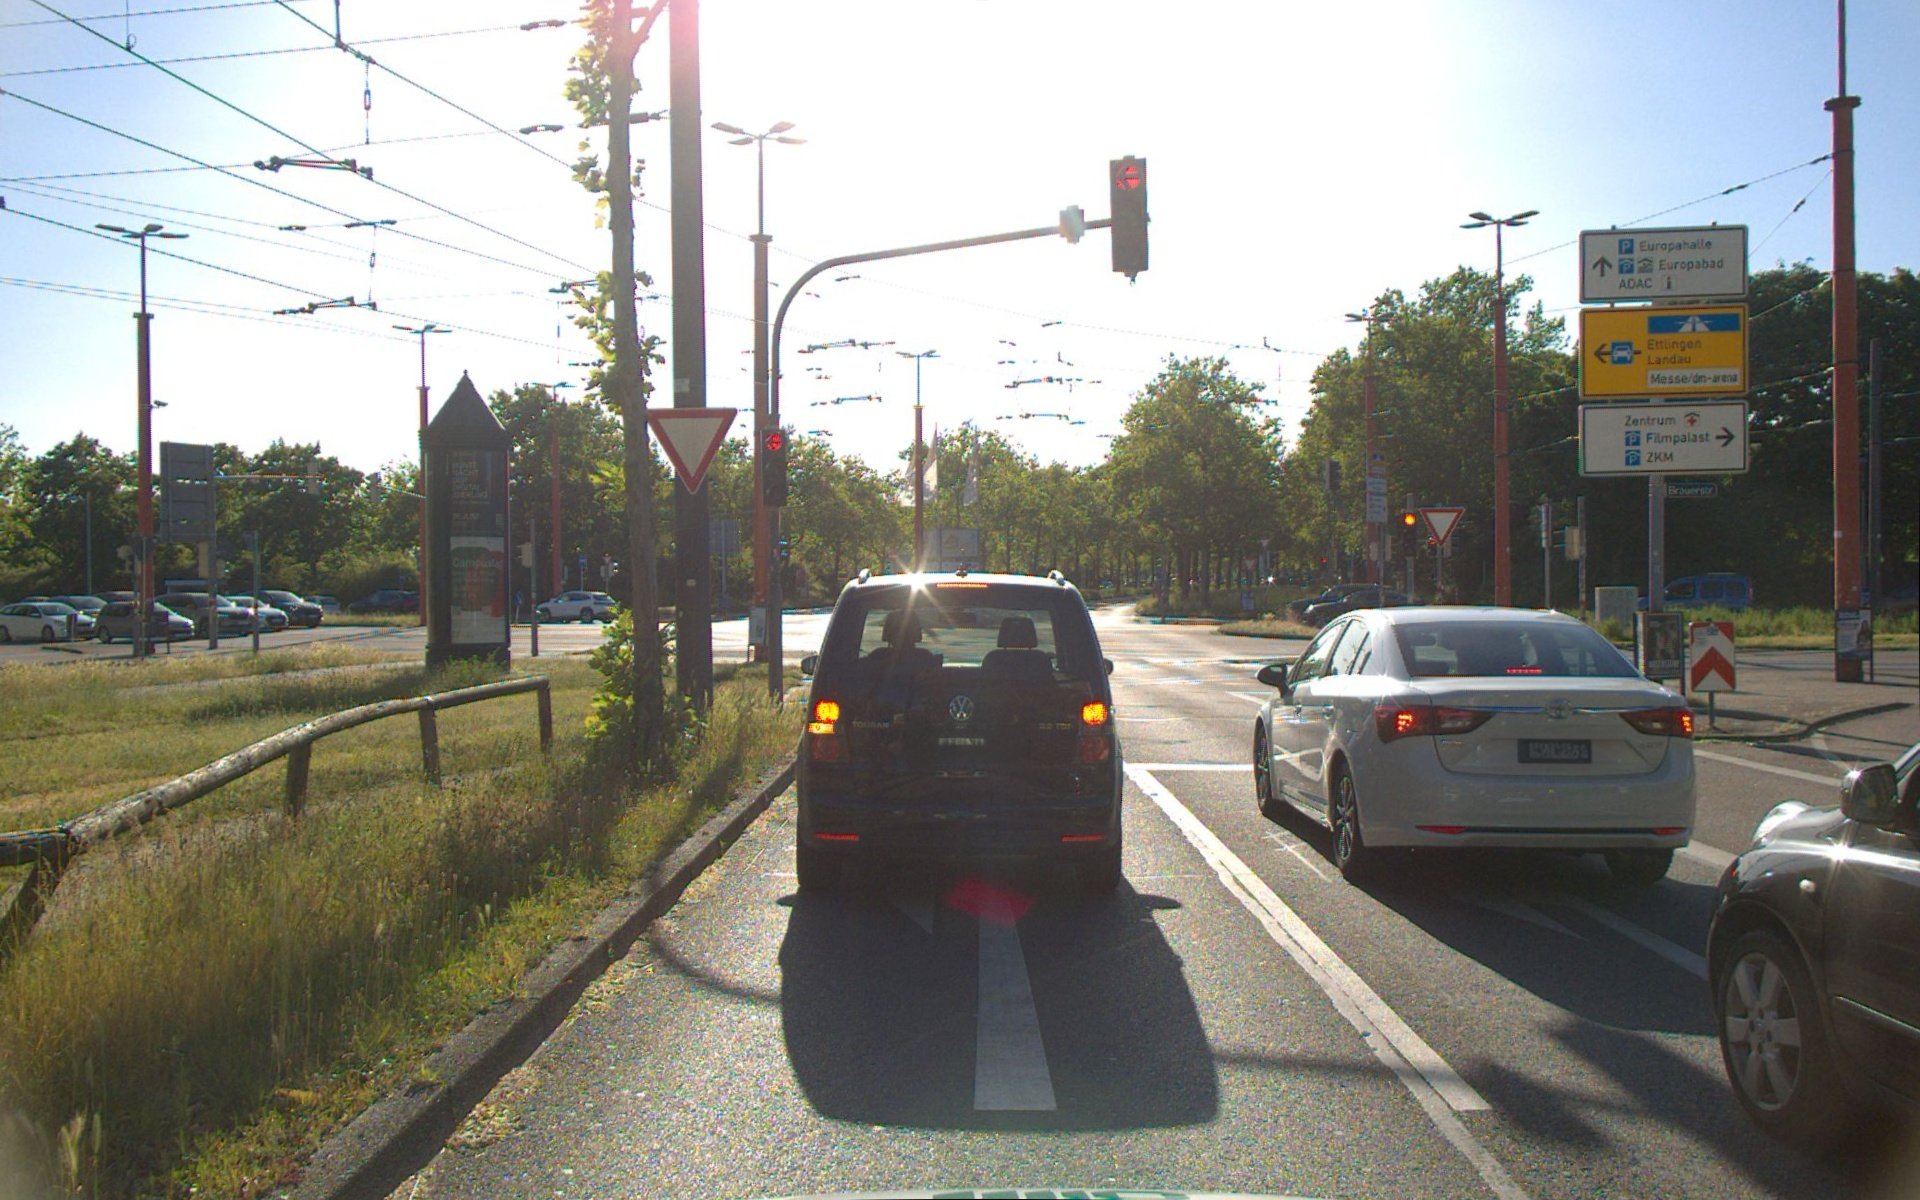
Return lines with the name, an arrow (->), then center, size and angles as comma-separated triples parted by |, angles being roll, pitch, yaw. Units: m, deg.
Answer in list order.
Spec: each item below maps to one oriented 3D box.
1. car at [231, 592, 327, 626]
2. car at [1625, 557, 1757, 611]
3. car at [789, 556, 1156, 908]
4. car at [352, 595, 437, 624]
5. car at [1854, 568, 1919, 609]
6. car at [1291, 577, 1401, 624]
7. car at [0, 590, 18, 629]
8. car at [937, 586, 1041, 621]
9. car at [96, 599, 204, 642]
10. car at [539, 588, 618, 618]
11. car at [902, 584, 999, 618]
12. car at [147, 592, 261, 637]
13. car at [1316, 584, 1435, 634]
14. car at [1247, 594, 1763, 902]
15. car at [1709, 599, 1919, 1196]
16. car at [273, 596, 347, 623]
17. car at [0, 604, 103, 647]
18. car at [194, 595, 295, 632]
car -> -29.461, 0.367, 71.555 | 4.060, 1.440, 1.542 | 0, 0, 26
car -> 25.402, -0.556, 57.490 | 4.041, 1.822, 1.796 | 0, 0, 29
car -> 0.072, 0.633, 9.968 | 1.703, 1.630, 4.326 | 1, 0, 0
car -> -28.776, 0.489, 84.114 | 4.035, 1.427, 1.656 | 0, 0, 23
car -> 33.393, -0.396, 57.430 | 4.036, 1.427, 1.656 | 0, 0, 25
car -> 15.520, 0.000, 66.487 | 4.037, 1.822, 1.797 | 0, 0, 25
car -> -42.978, 0.377, 71.642 | 4.541, 1.676, 1.753 | 0, 0, 30
car -> 1.215, 0.130, 69.169 | 4.039, 1.427, 1.655 | 0, 0, 27
car -> -29.537, 0.725, 60.306 | 3.755, 1.466, 1.655 | 0, 0, 27
car -> -19.251, 0.141, 83.505 | 3.718, 1.427, 1.655 | 0, 0, 28
car -> -0.447, 0.022, 74.174 | 4.037, 1.497, 1.655 | 0, 0, 25
car -> -29.311, 0.535, 64.098 | 4.541, 1.676, 1.654 | 0, 0, 30
car -> 15.701, 0.334, 62.538 | 4.043, 1.822, 1.795 | 0, 0, 31
car -> 3.020, 0.726, 10.190 | 1.762, 1.465, 4.326 | 1, 0, 0
car -> 3.141, 0.740, 3.493 | 1.544, 1.465, 3.441 | 1, 0, 0
car -> -36.073, 0.523, 91.799 | 3.713, 1.427, 1.657 | 0, 0, 21
car -> -34.932, 0.964, 63.260 | 4.536, 1.546, 1.654 | 0, 0, 30
car -> -29.398, 0.526, 67.933 | 4.060, 1.440, 1.542 | 0, 0, 26
